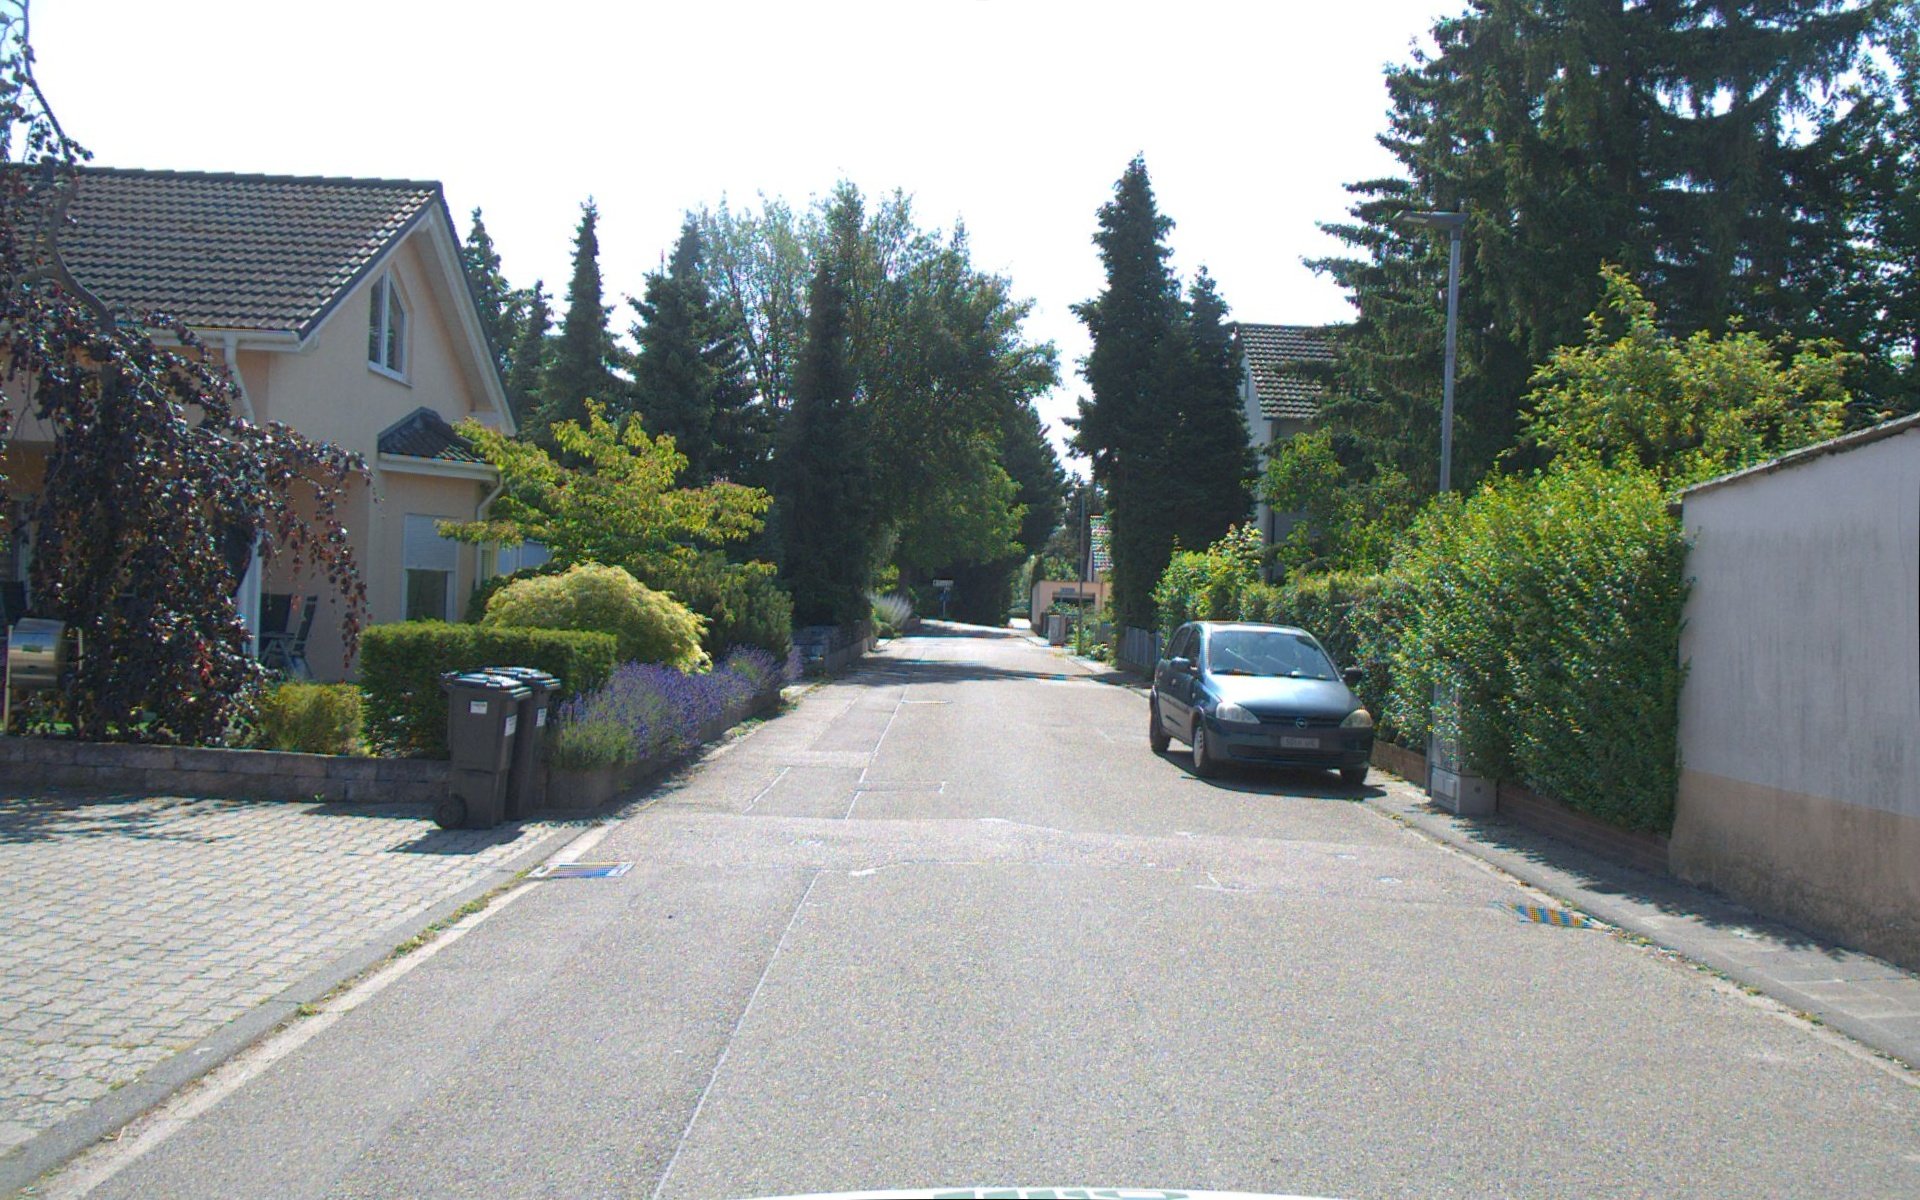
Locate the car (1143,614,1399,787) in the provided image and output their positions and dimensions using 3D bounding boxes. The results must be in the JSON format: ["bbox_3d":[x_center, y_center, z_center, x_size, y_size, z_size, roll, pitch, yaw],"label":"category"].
[{"bbox_3d":[2.975,0.905,16.609,1.668,1.424,3.999,3,0,-1],"label":"car"}]

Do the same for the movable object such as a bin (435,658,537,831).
[{"bbox_3d":[-2.986,0.901,10.447,0.484,1.042,0.447,2,0,0],"label":"movable object such as a bin"}]

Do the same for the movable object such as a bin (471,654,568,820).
[{"bbox_3d":[-2.901,0.893,10.915,0.484,1.042,0.447,2,0,0],"label":"movable object such as a bin"}]
